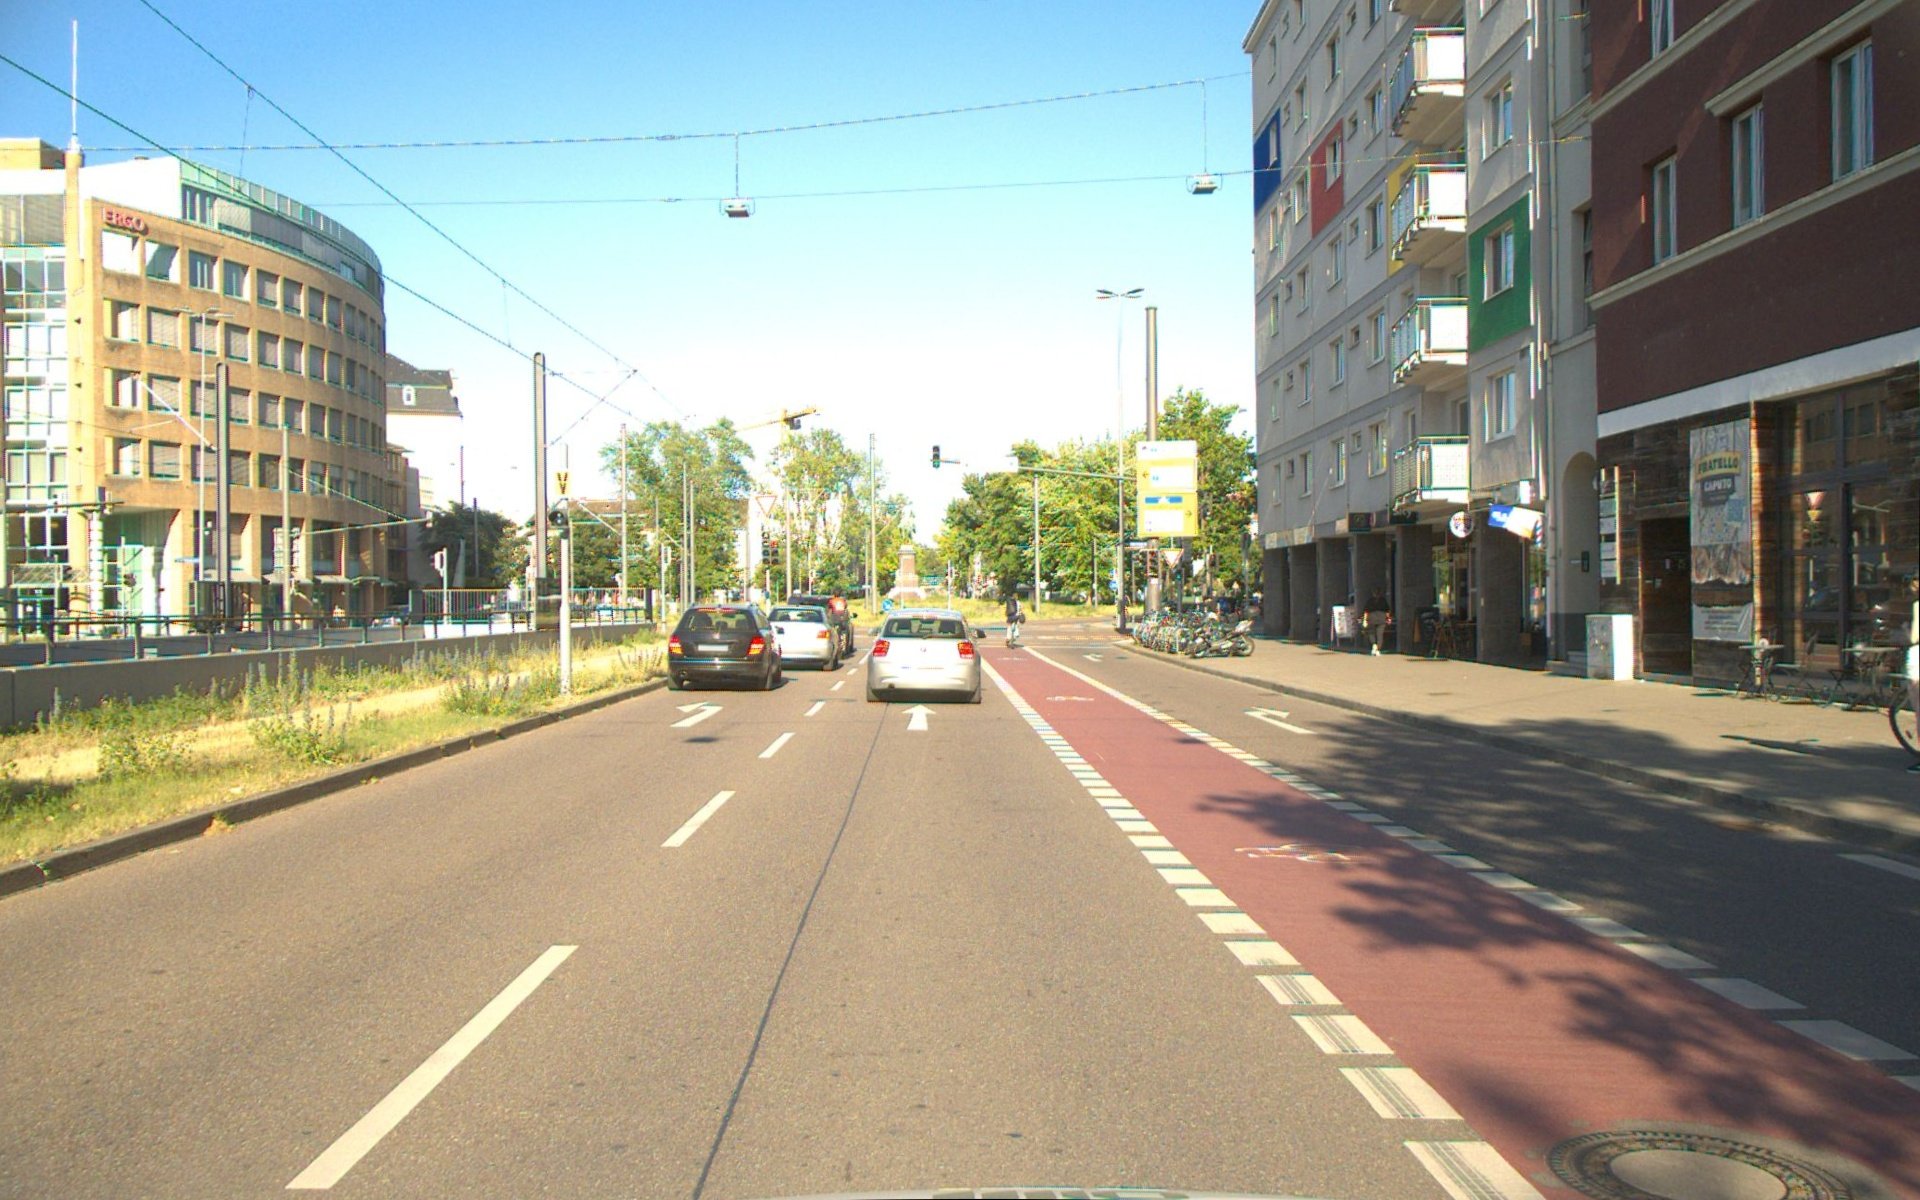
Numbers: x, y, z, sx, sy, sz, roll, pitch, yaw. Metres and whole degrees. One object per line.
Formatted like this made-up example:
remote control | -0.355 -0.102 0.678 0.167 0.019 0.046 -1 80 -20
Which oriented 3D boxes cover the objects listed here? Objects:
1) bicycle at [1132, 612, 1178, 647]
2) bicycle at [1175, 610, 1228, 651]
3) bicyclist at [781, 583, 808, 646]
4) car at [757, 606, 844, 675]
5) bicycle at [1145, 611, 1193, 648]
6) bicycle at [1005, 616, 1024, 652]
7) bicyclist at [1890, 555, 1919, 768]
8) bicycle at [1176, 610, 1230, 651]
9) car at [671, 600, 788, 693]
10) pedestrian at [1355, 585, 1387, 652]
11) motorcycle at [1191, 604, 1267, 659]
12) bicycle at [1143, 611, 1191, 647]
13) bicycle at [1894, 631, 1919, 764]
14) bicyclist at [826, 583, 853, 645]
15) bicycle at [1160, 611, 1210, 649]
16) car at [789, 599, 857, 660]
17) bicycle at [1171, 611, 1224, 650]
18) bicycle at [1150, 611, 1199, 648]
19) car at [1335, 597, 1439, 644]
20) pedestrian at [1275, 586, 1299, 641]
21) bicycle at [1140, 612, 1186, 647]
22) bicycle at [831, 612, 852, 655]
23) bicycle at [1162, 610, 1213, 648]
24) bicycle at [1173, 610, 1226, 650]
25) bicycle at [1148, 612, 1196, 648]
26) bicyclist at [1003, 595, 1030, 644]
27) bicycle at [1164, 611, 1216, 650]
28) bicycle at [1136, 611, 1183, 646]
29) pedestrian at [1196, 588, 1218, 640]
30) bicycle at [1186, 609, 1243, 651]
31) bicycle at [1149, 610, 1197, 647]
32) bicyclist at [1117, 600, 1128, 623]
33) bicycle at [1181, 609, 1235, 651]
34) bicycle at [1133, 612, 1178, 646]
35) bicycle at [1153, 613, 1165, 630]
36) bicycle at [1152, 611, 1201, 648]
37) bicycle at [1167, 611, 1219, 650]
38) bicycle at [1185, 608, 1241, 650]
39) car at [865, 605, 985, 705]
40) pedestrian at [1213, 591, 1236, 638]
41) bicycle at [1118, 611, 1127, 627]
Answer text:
bicycle | 6.345 0.947 53.781 1.435 1.086 0.257 -2 -1 1
bicycle | 6.760 0.850 46.326 1.435 1.086 0.257 -2 -1 1
bicyclist | -4.261 0.362 42.607 0.604 1.599 0.686 1 -1 0
car | -3.501 0.859 36.924 1.611 1.446 3.999 1 0 -1
bicycle | 6.540 0.922 51.727 1.435 1.086 0.257 -2 -1 1
bicycle | 1.737 1.074 52.588 0.489 1.107 1.996 1 0 -1
bicyclist | 8.079 0.492 13.576 0.588 1.719 0.598 -1 0 9
bicycle | 6.699 0.839 45.644 1.435 1.086 0.257 -2 -1 1
car | -3.960 0.765 28.972 1.692 1.496 4.407 0 0 -4
pedestrian | 10.047 0.446 40.414 0.561 1.610 0.556 -3 -1 -1
motorcycle | 6.892 0.803 42.376 1.816 1.323 0.652 -2 -1 2
bicycle | 6.518 0.919 52.044 1.435 1.086 0.257 -2 -1 1
bicycle | 8.187 0.829 13.647 0.311 1.104 1.686 -1 0 11
bicyclist | -3.117 0.359 42.817 0.606 1.599 0.684 0 0 -13
bicycle | 6.638 0.886 48.797 1.435 1.086 0.257 -2 -1 1
car | -3.849 0.804 47.111 1.669 1.650 3.999 0 0 -1
bicycle | 6.748 0.864 47.043 1.435 1.086 0.257 -2 -1 1
bicycle | 6.582 0.902 50.766 1.435 1.086 0.257 -2 -1 1
car | 19.753 0.947 76.648 4.272 2.049 1.972 1 -1 0
pedestrian | 12.374 0.496 62.605 0.825 2.049 0.890 1 -1 8
bicycle | 6.511 0.936 53.096 1.435 1.086 0.257 -2 -1 1
bicycle | -3.075 0.862 42.807 0.332 1.075 1.774 0 0 -11
bicycle | 6.661 0.854 48.431 1.435 1.086 0.257 -2 -1 1
bicycle | 6.754 0.853 46.698 1.435 1.086 0.257 -2 -1 1
bicycle | 6.585 0.922 51.419 1.435 1.086 0.257 -2 -1 1
bicyclist | 1.788 0.620 52.596 0.769 1.558 0.894 1 -1 -1
bicycle | 6.687 0.873 48.088 1.435 1.086 0.257 -2 -1 1
bicycle | 6.440 0.928 53.421 1.435 1.086 0.257 -2 -1 1
pedestrian | 9.765 0.557 65.390 0.774 2.049 0.870 1 -1 6
bicycle | 6.805 0.801 44.253 1.435 1.086 0.257 -2 -1 1
bicycle | 6.573 0.886 51.080 1.435 1.086 0.257 -2 -1 1
bicyclist | 10.072 0.693 102.373 0.604 1.404 0.686 1 -1 0
bicycle | 6.780 0.820 45.238 1.435 1.086 0.257 -2 -1 1
bicycle | 6.395 0.951 54.120 1.435 1.086 0.257 -2 -1 1
bicycle | 11.749 1.260 97.767 0.408 1.026 1.944 1 0 -2
bicycle | 6.570 0.887 50.146 1.435 1.086 0.257 -2 -1 1
bicycle | 6.723 0.871 47.743 1.435 1.086 0.257 -2 -1 1
bicycle | 6.821 0.793 44.639 1.435 1.086 0.257 -2 -1 1
car | -0.552 0.817 26.289 1.761 1.439 3.999 0 0 -1
pedestrian | 10.709 0.580 66.957 0.808 1.888 0.917 1 -1 13
bicycle | 10.068 1.156 102.502 0.344 0.975 1.572 1 0 0
